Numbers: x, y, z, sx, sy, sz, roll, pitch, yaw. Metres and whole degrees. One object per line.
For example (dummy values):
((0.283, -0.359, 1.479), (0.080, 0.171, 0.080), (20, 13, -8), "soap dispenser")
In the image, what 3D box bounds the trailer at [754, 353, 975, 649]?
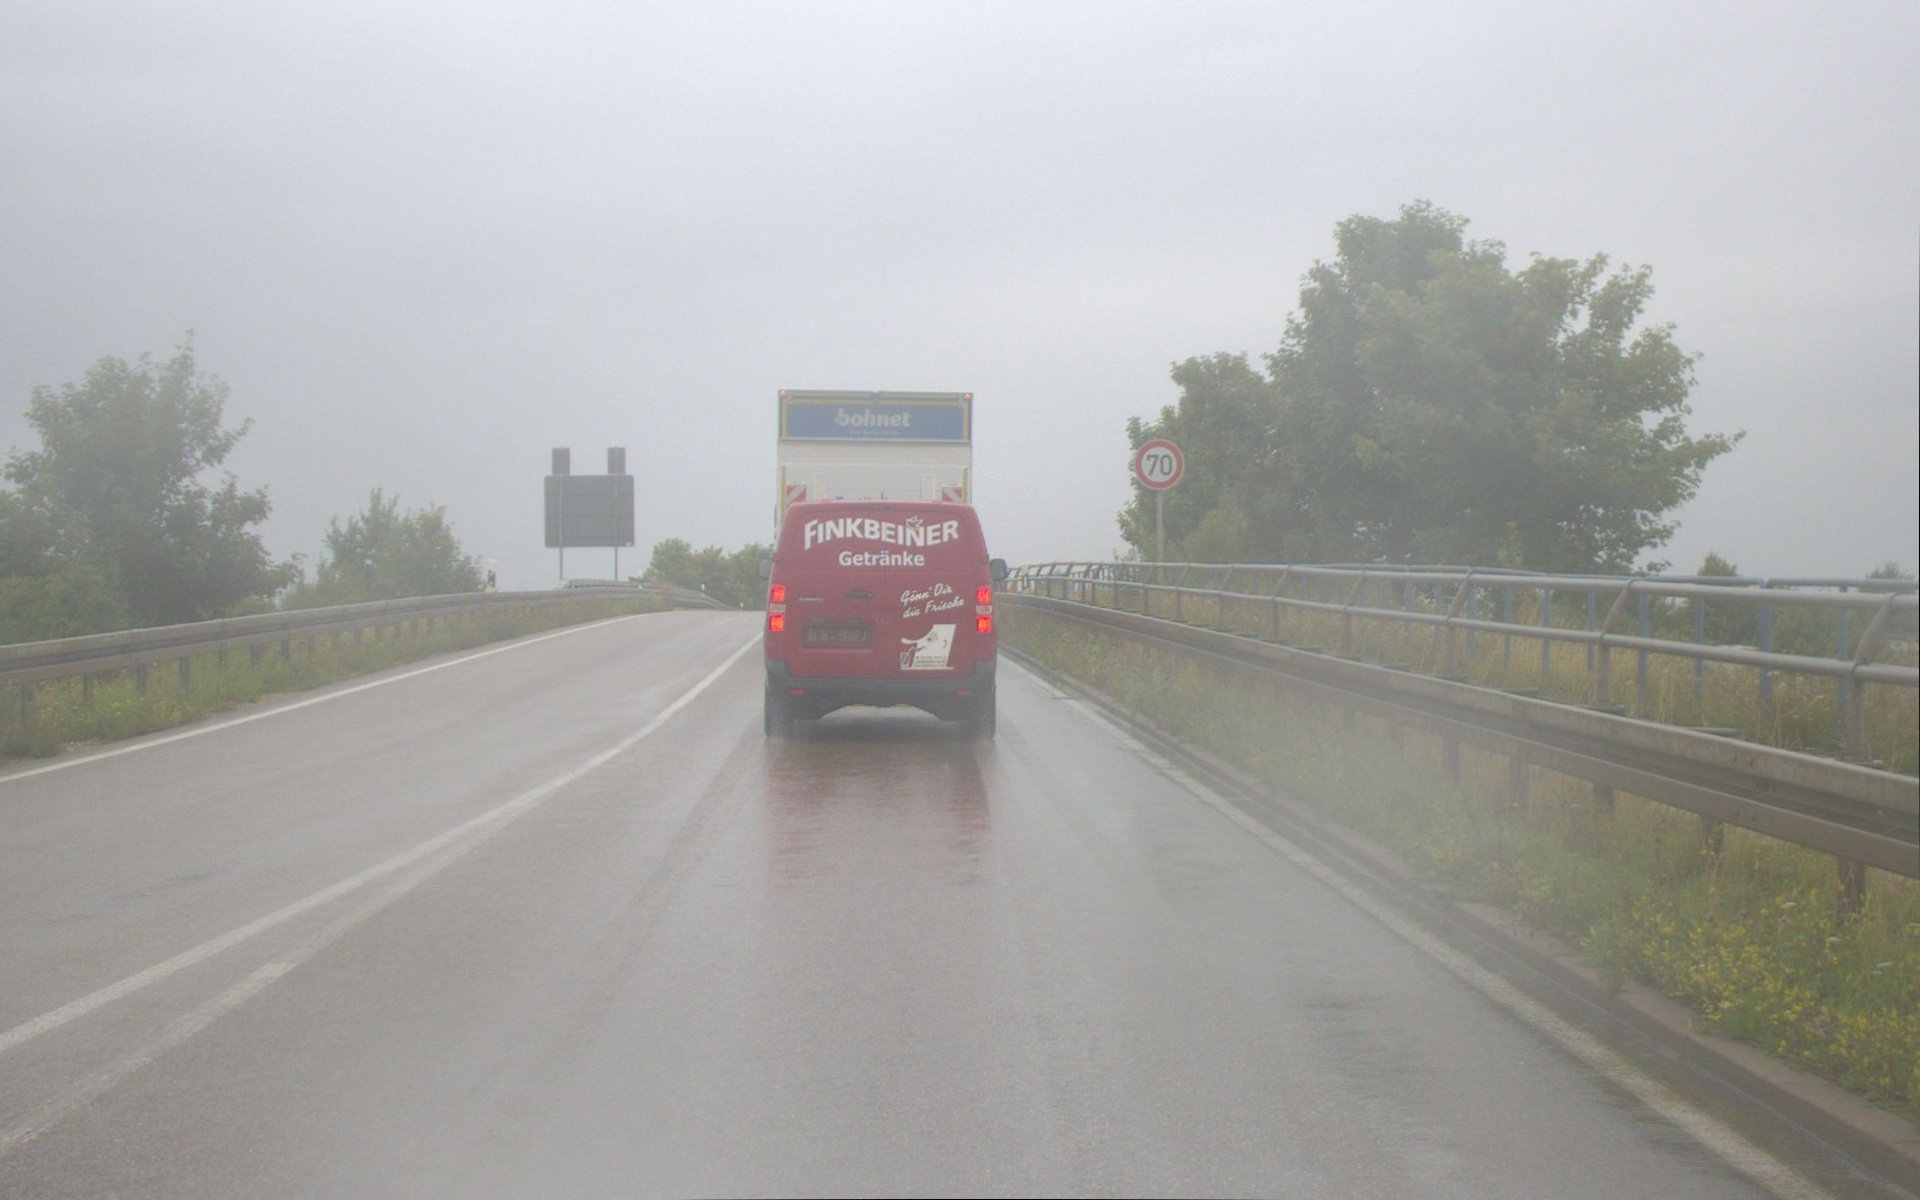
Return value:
((-1.241, -1.260, 49.253), (2.832, 3.806, 9.714), (0, 0, 0), "trailer")

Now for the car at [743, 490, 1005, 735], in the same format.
((-0.682, 0.088, 29.078), (1.993, 1.864, 4.979), (-1, 0, 0), "car")
